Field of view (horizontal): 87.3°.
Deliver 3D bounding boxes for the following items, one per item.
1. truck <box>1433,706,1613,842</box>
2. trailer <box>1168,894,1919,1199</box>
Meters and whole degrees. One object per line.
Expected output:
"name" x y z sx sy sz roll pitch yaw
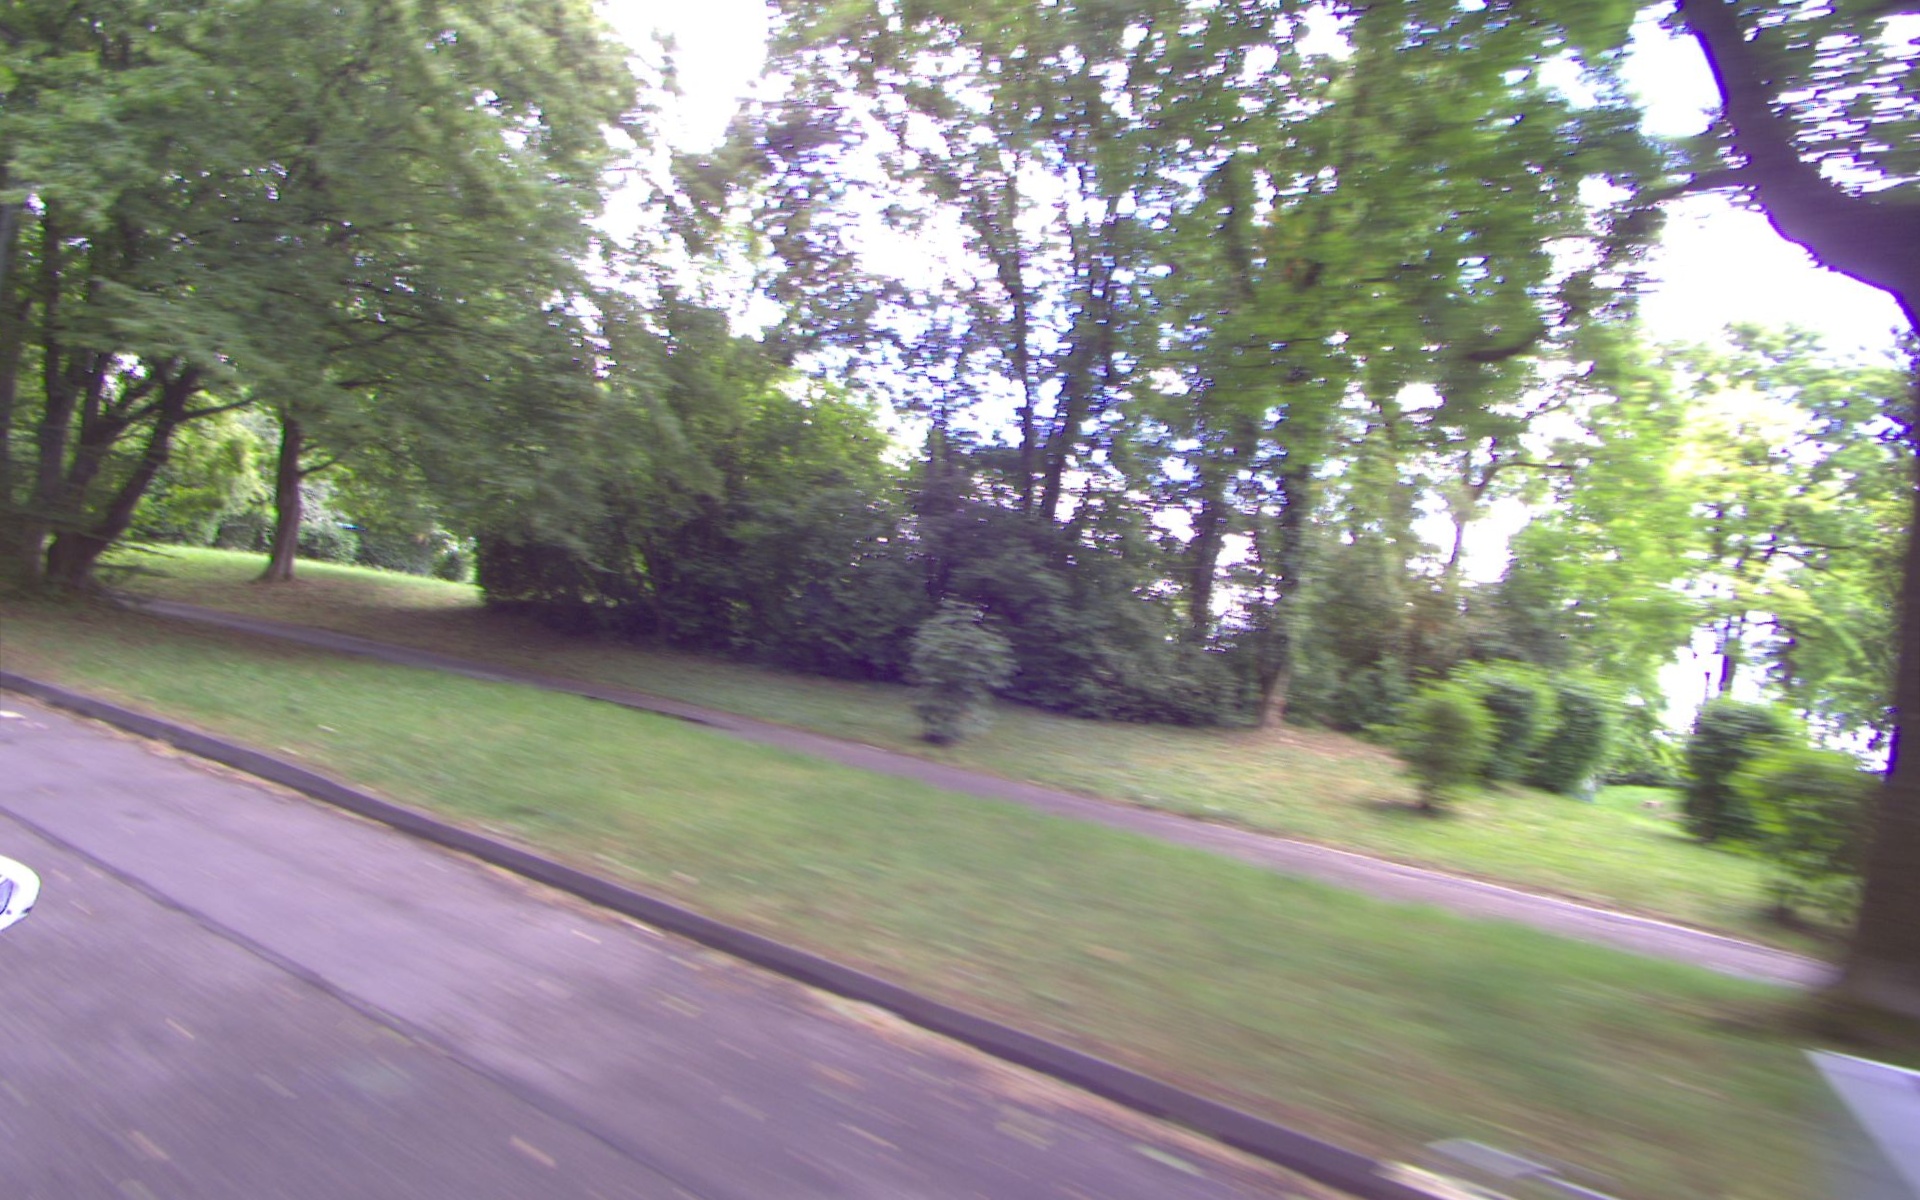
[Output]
"truck" 21.046 6.299 38.407 2.646 4.039 9.593 7 -4 11
"trailer" 2.073 1.329 1.513 3.225 0.857 1.367 5 -4 33
